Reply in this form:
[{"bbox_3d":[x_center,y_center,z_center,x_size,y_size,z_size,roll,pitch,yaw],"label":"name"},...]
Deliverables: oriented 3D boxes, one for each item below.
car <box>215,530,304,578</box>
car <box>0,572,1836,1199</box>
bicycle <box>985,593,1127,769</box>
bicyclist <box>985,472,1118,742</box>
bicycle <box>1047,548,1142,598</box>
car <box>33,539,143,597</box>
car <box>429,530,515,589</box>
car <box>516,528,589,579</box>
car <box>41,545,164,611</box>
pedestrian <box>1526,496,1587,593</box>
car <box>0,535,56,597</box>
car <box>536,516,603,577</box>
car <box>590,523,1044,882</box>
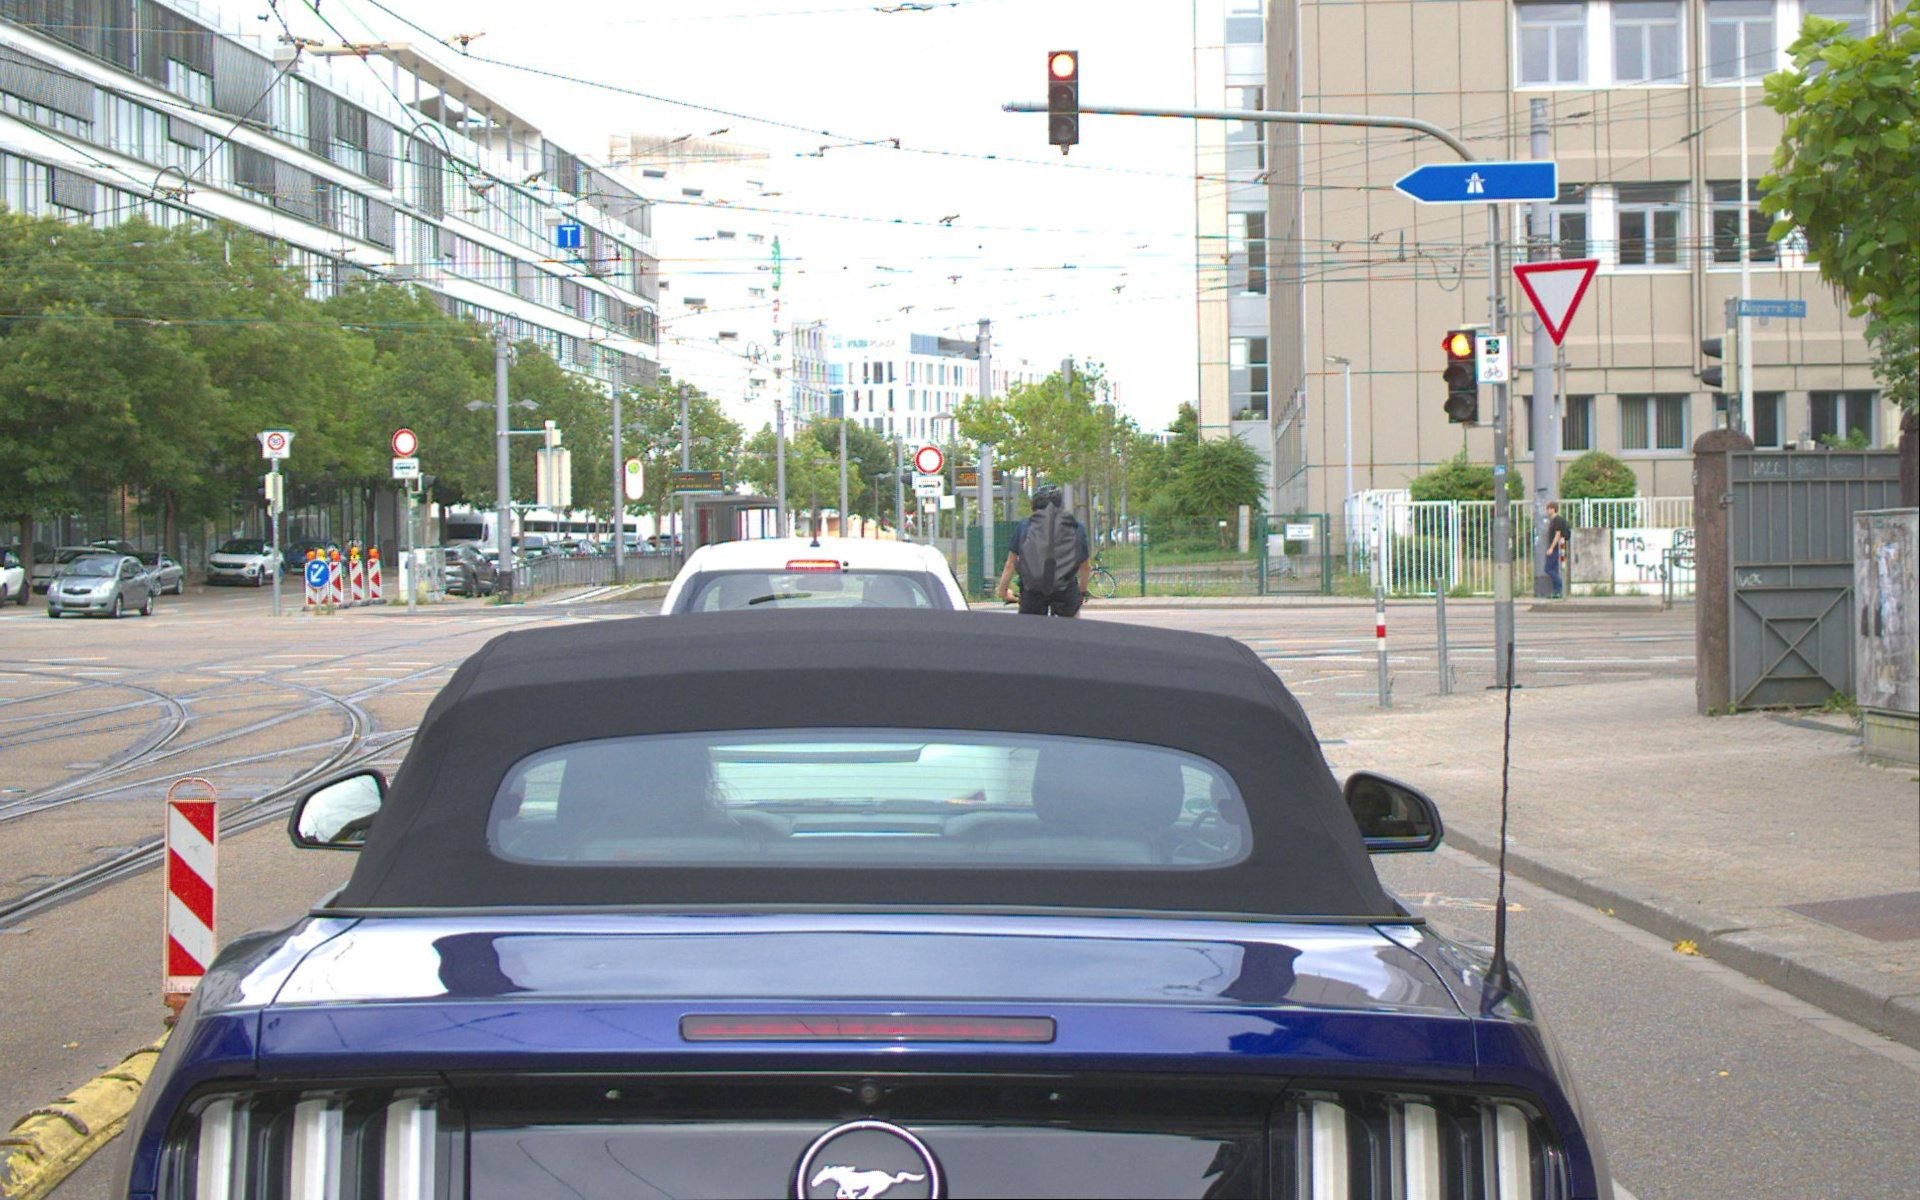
[{"bbox_3d":[-23.680,-1.576,116.342,1.986,1.551,4.512,1,1,1],"label":"car"},{"bbox_3d":[-0.137,0.696,5.370,1.876,1.399,4.282,1,1,0],"label":"car"},{"bbox_3d":[0.628,0.522,23.291,0.800,1.082,2.132,-1,1,-2],"label":"bicycle"},{"bbox_3d":[0.612,0.035,23.454,0.796,1.779,1.233,-1,1,-2],"label":"bicyclist"},{"bbox_3d":[2.833,-0.567,72.721,0.632,0.977,2.157,-2,-1,-42],"label":"bicycle"},{"bbox_3d":[-24.852,-0.925,98.152,1.830,1.551,4.216,1,1,3],"label":"car"},{"bbox_3d":[-13.778,-1.163,97.249,1.879,1.623,4.087,-1,1,-1],"label":"car"},{"bbox_3d":[-13.101,-1.520,110.782,1.868,1.600,4.213,-1,1,-1],"label":"car"},{"bbox_3d":[-20.673,-0.553,83.045,1.668,1.501,4.234,1,1,3],"label":"car"},{"bbox_3d":[11.844,-1.103,68.268,1.086,1.891,0.902,-1,1,5],"label":"pedestrian"},{"bbox_3d":[-25.518,-0.932,91.045,1.830,1.551,4.216,1,1,3],"label":"car"},{"bbox_3d":[-13.145,-1.809,115.945,1.785,1.980,4.121,-1,1,-1],"label":"car"},{"bbox_3d":[-0.752,0.374,16.161,1.835,1.434,4.188,-1,1,-5],"label":"car"}]
